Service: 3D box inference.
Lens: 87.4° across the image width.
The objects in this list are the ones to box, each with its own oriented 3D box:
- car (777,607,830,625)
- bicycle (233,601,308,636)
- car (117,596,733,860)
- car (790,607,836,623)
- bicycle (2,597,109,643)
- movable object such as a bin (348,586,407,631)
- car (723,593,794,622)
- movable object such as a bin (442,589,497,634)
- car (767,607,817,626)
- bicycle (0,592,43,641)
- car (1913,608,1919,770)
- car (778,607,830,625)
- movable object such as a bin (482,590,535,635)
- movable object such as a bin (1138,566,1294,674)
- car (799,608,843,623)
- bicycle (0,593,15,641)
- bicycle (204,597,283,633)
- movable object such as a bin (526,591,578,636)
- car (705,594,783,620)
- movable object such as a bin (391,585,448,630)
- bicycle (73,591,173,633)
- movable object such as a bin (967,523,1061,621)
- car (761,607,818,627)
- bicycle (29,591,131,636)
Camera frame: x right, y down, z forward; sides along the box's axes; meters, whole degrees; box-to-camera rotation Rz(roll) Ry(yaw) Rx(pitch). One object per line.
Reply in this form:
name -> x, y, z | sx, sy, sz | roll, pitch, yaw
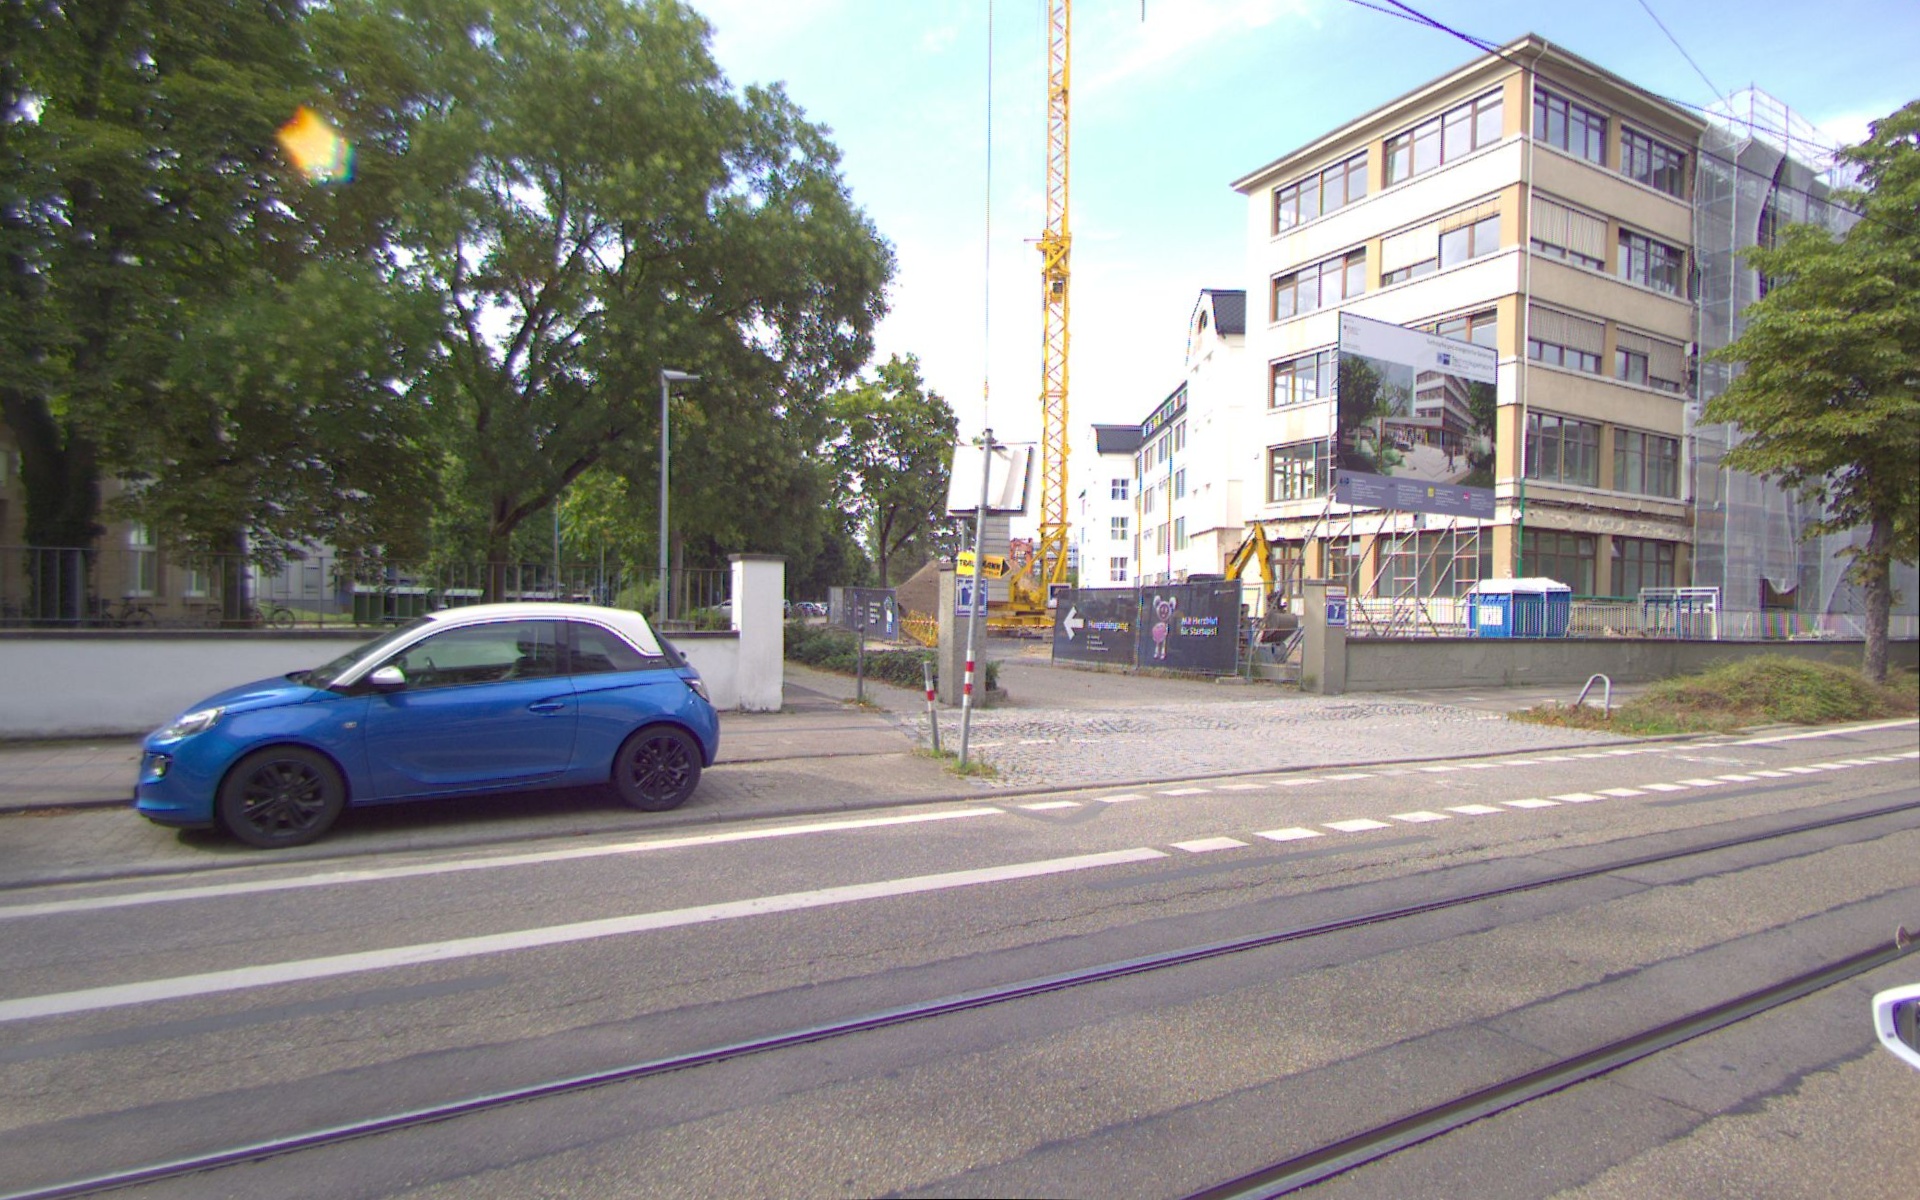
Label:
car -> -14.316, 1.484, 91.973 | 4.719, 1.508, 1.997 | 2, 0, -8
bicycle -> -22.203, 0.594, 32.349 | 1.940, 1.057, 0.594 | 1, 1, -4
car -> -3.636, 0.755, 7.304 | 3.560, 1.484, 1.620 | 1, 0, -30
car -> -15.512, 1.556, 105.871 | 4.719, 1.508, 1.997 | 2, 0, -8
bicycle -> -21.860, 0.473, 24.295 | 1.940, 1.057, 0.594 | 1, 1, -4
movable object such as a bin -> -19.376, 0.292, 33.440 | 1.259, 1.449, 1.122 | 2, 0, -2
car -> -15.184, 0.574, 75.887 | 4.965, 1.979, 1.999 | 2, 0, -4
movable object such as a bin -> -16.441, 0.382, 33.703 | 1.259, 1.449, 1.122 | 2, 0, -2
car -> -14.788, 1.477, 88.652 | 4.268, 1.564, 1.751 | 2, 0, -8
bicycle -> -21.917, 0.349, 22.593 | 1.940, 1.057, 0.594 | 1, 1, -4
car -> 11.953, 0.942, 10.392 | 4.281, 1.634, 1.839 | 1, 0, -29
car -> -14.700, 1.525, 94.798 | 4.719, 1.508, 1.997 | 2, 0, -8
movable object such as a bin -> -15.102, 0.423, 33.630 | 1.259, 1.449, 1.122 | 2, 0, -2
movable object such as a bin -> 6.281, 0.480, 24.988 | 2.459, 2.475, 3.048 | 2, 0, -19
car -> -15.032, 1.652, 108.883 | 4.719, 1.508, 1.997 | 2, 0, -8
bicycle -> -21.833, 0.347, 21.813 | 1.940, 1.057, 0.594 | 1, 1, -4
bicycle -> -22.082, 0.465, 30.994 | 1.940, 1.057, 0.594 | 1, 1, -4
movable object such as a bin -> -13.584, 0.458, 33.466 | 1.259, 1.449, 1.122 | 2, 0, -2
car -> -13.832, 0.454, 64.596 | 4.719, 1.508, 1.997 | 2, 0, -8
movable object such as a bin -> -18.013, 0.243, 33.504 | 1.259, 1.449, 1.122 | 2, 0, -2
bicycle -> -22.347, 0.325, 26.858 | 1.953, 1.057, 0.590 | 1, 1, -28
movable object such as a bin -> 4.251, -1.865, 75.036 | 3.781, 6.758, 10.988 | 2, 0, 20
car -> -14.542, 1.447, 85.987 | 4.719, 1.508, 1.997 | 2, 0, -8
bicycle -> -21.946, 0.327, 25.075 | 1.940, 1.057, 0.594 | 1, 1, -4
